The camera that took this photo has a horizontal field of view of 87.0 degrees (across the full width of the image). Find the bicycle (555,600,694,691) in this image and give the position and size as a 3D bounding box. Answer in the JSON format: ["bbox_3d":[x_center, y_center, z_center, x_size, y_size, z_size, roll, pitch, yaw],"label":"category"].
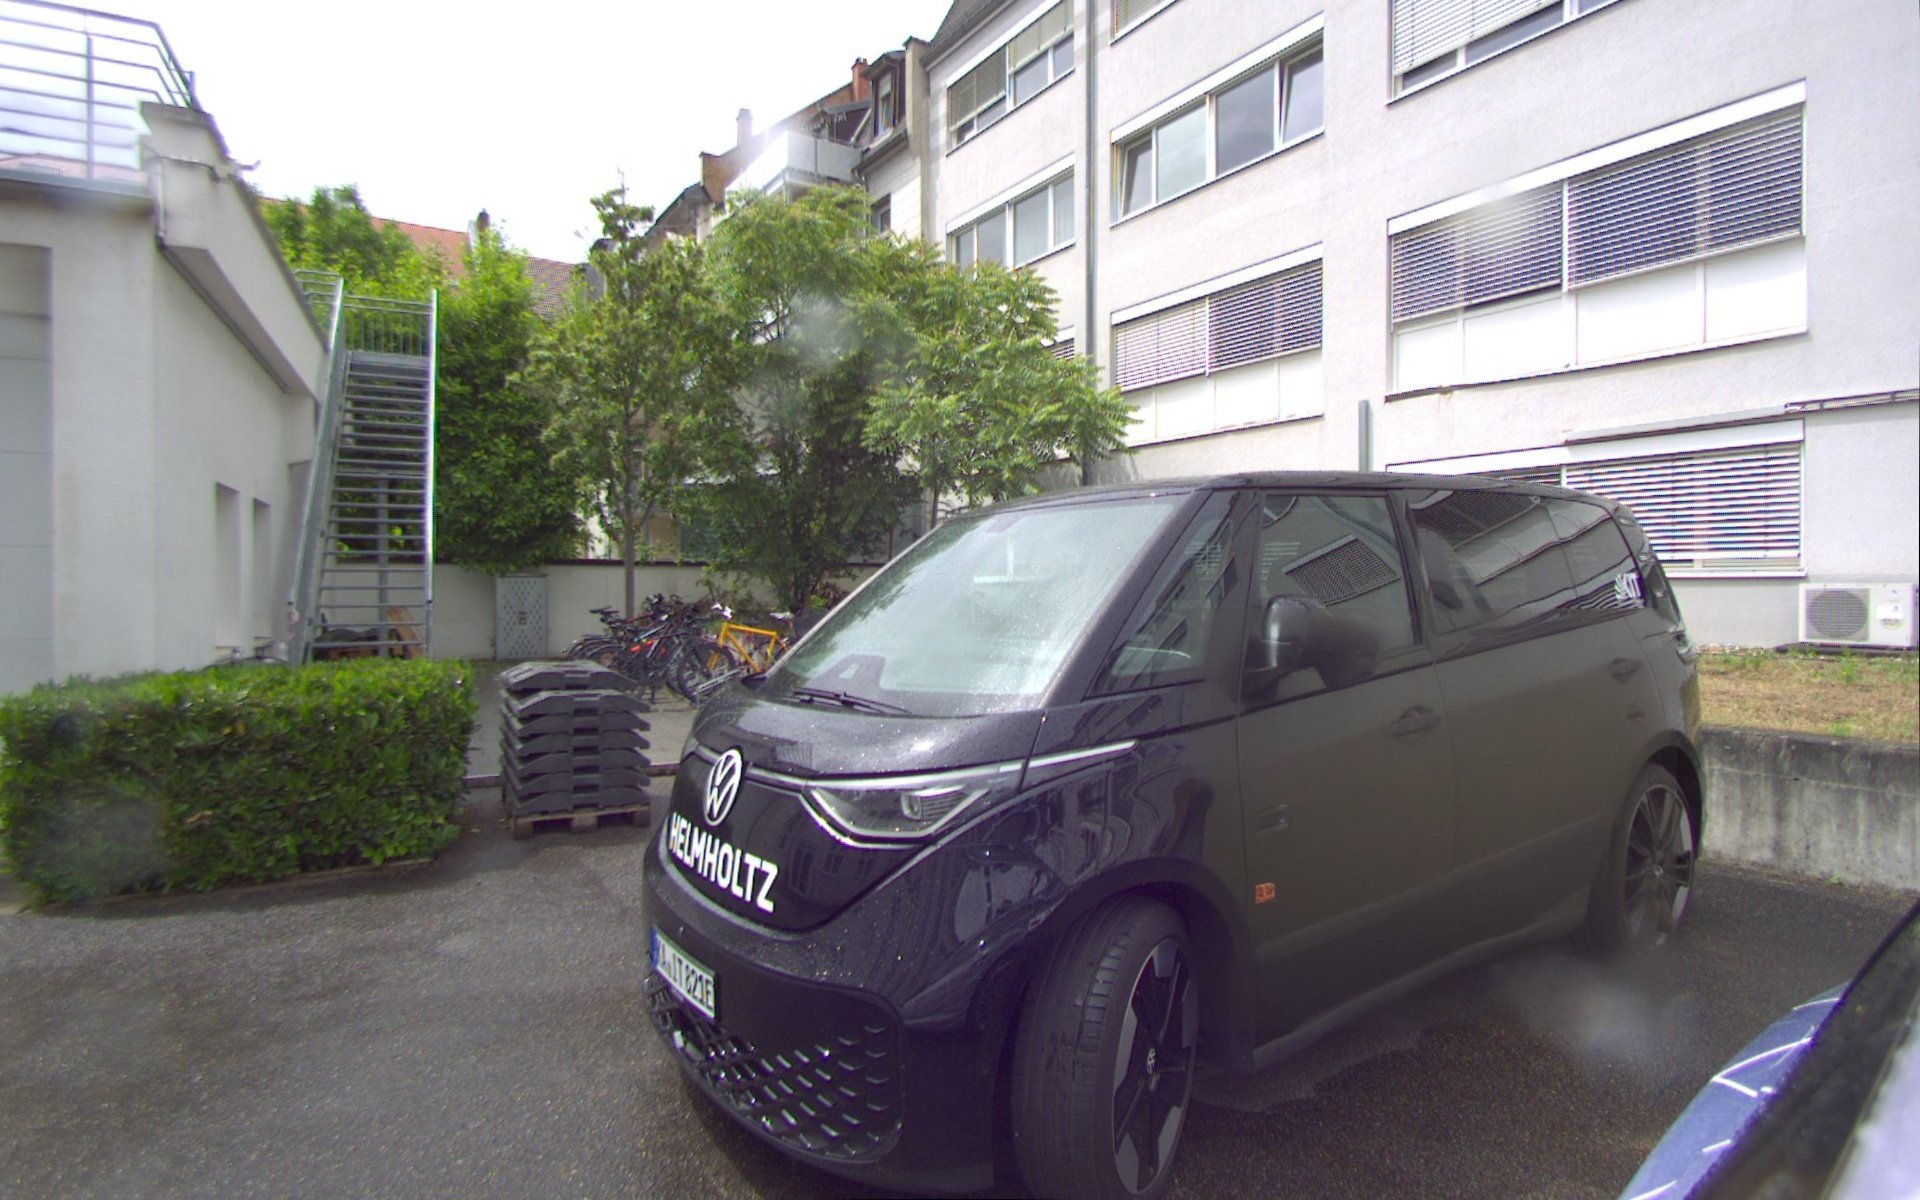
[{"bbox_3d":[-4.402,0.570,13.350,1.722,1.117,0.346,-1,1,-34],"label":"bicycle"}]

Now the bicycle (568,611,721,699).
[{"bbox_3d":[-3.814,0.642,12.325,1.762,0.979,0.330,-1,1,-34],"label":"bicycle"}]

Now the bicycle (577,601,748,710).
[{"bbox_3d":[-3.262,0.577,11.151,1.759,1.117,0.406,0,1,-26],"label":"bicycle"}]

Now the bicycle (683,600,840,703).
[{"bbox_3d":[-2.294,0.570,11.766,1.759,1.117,0.368,0,1,-26],"label":"bicycle"}]

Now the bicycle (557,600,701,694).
[{"bbox_3d":[-4.203,0.573,12.911,1.722,1.117,0.343,-1,1,-34],"label":"bicycle"}]

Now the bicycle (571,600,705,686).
[{"bbox_3d":[-4.419,0.565,13.957,1.722,1.117,0.355,-1,1,-34],"label":"bicycle"}]

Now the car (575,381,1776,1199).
[{"bbox_3d":[1.157,0.467,4.002,4.658,1.888,1.971,-2,1,-35],"label":"car"}]

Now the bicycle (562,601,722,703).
[{"bbox_3d":[-3.700,0.575,11.833,1.759,1.117,0.355,0,1,-26],"label":"bicycle"}]

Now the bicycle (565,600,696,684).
[{"bbox_3d":[-4.621,0.565,14.255,1.722,1.117,0.342,-1,1,-34],"label":"bicycle"}]

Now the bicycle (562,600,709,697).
[{"bbox_3d":[-4.012,0.573,12.606,1.722,1.117,0.333,-1,1,-34],"label":"bicycle"}]
